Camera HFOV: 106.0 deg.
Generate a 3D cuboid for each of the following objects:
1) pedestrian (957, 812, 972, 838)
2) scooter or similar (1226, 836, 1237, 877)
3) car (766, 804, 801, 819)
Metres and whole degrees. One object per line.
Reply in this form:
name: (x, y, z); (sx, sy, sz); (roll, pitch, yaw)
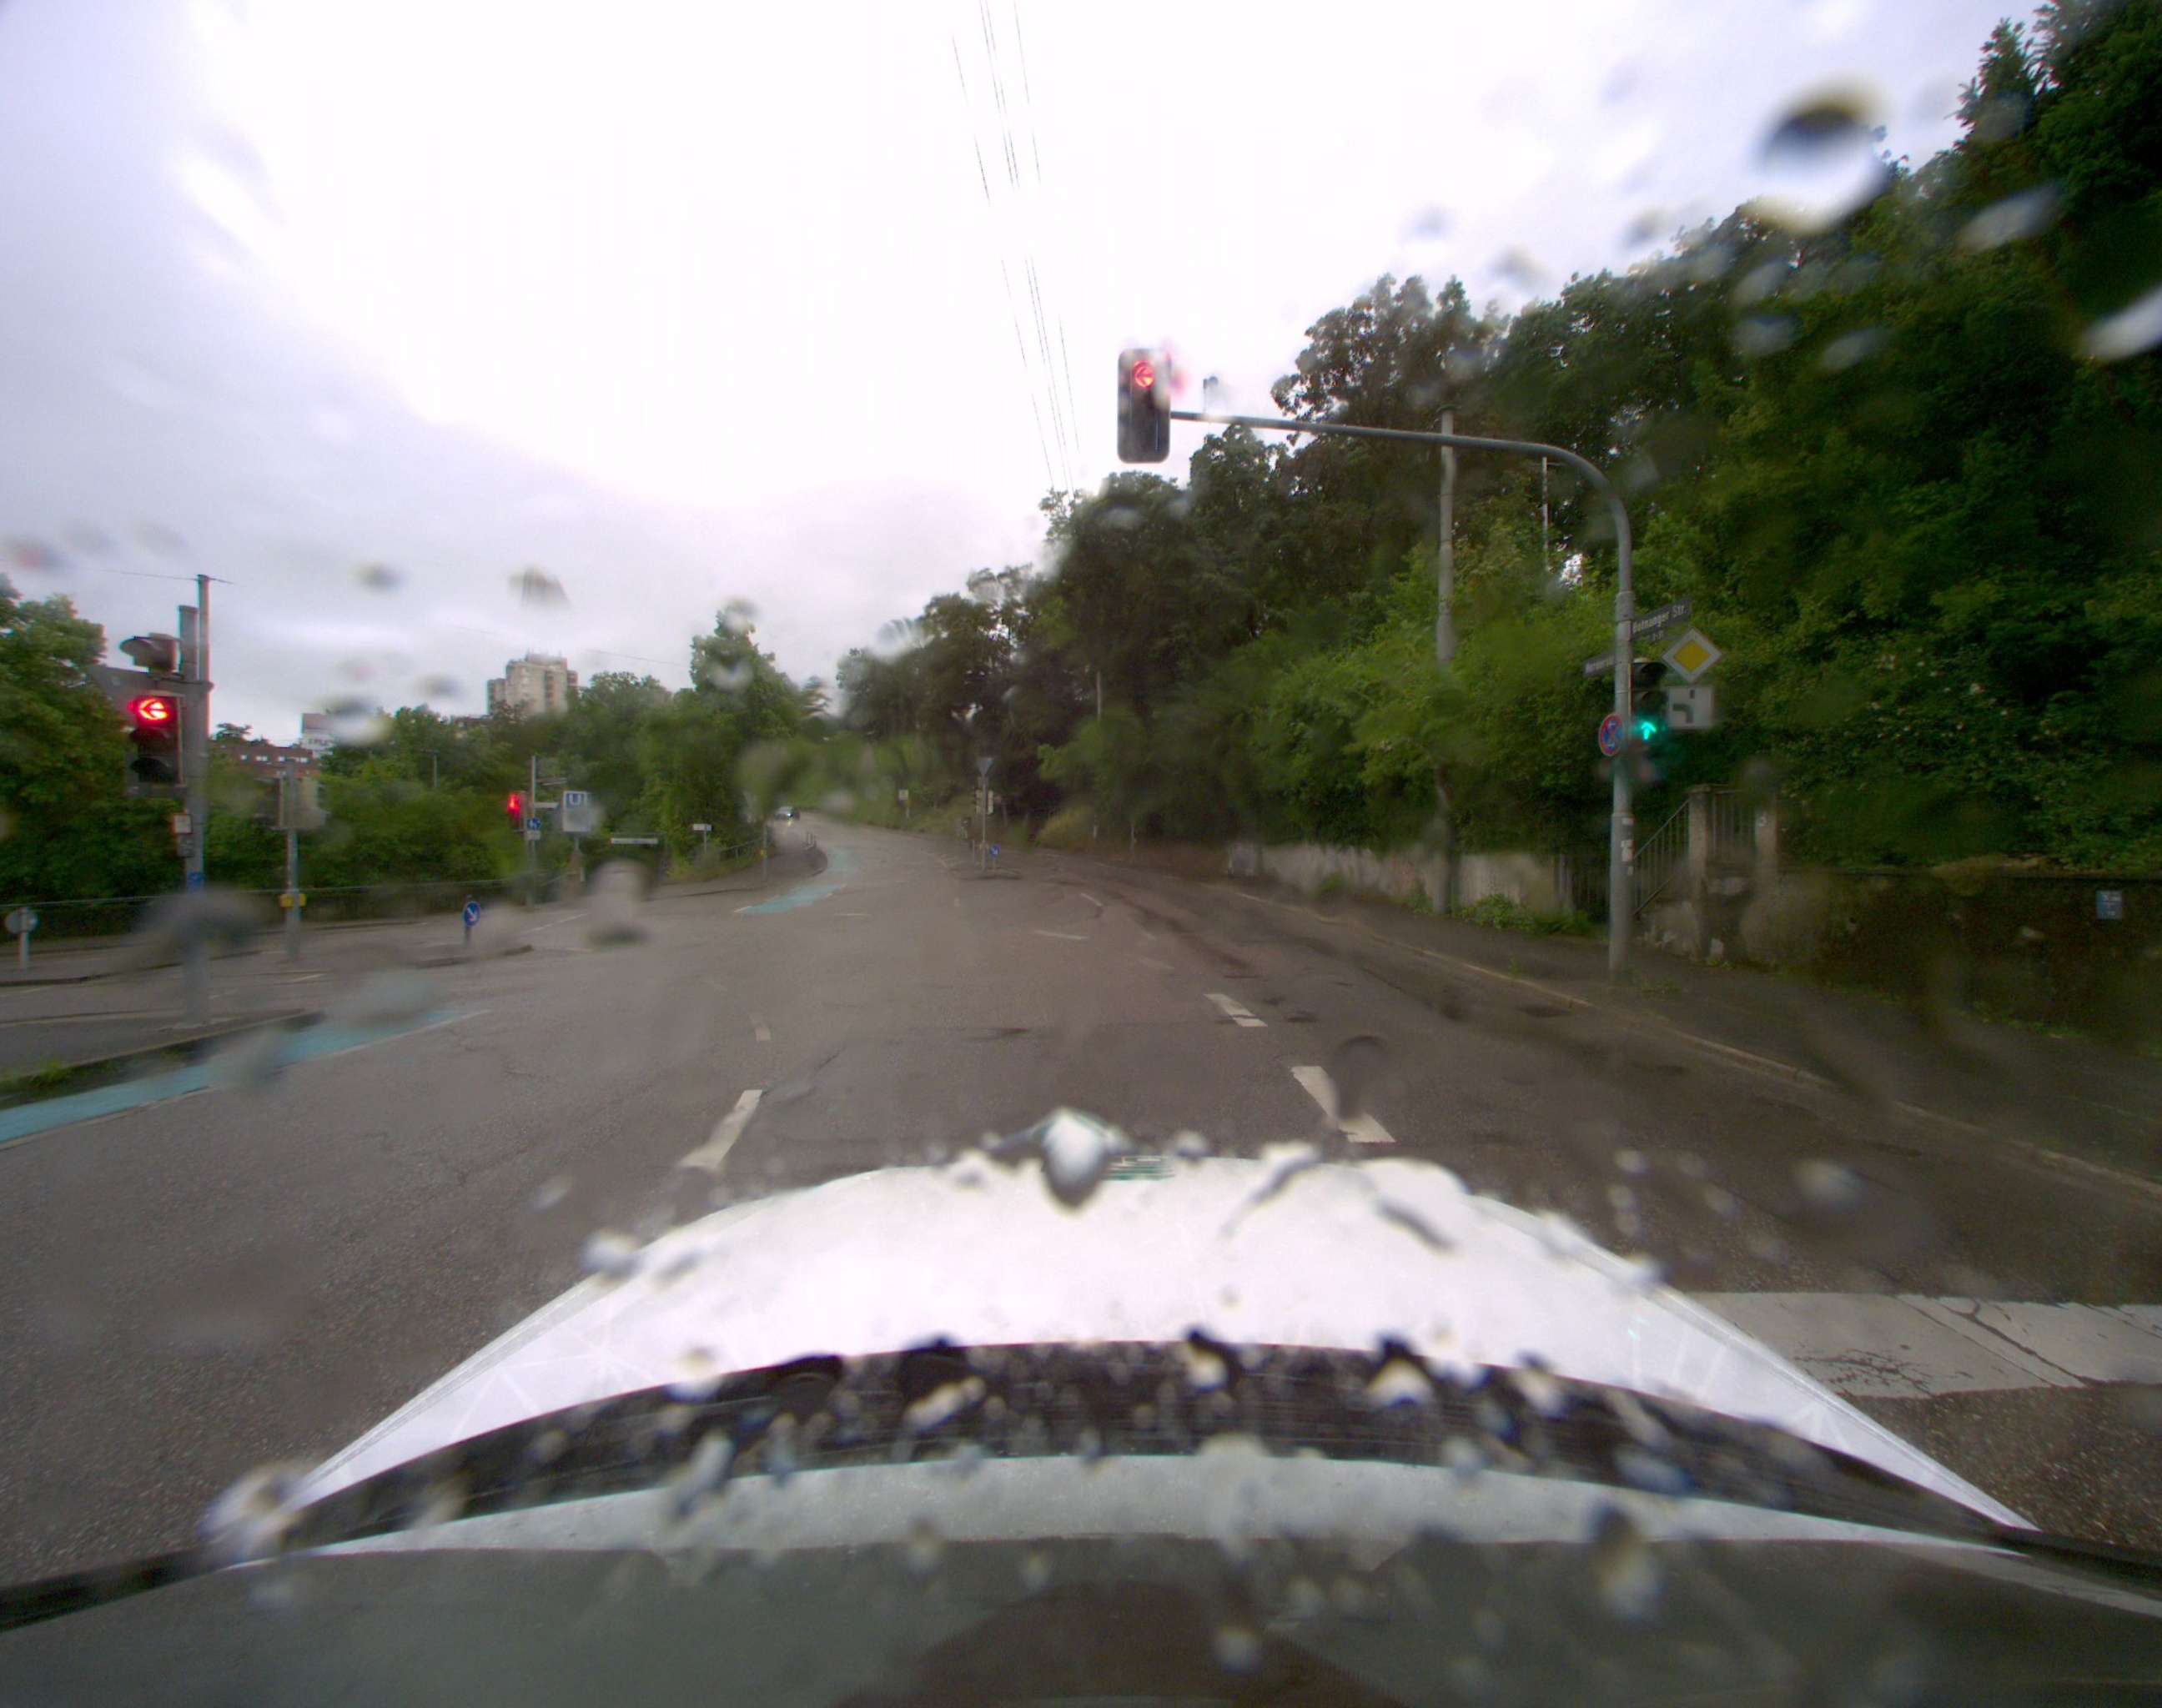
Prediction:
pedestrian: (-7.885, -1.971, 55.257); (0.882, 1.736, 0.861); (0, -1, -15)
scooter or similar: (4.891, 0.065, 26.506); (0.320, 1.279, 0.754); (-1, 2, 10)
car: (-31.784, -4.493, 87.027); (1.948, 1.511, 4.409); (1, 3, 3)
